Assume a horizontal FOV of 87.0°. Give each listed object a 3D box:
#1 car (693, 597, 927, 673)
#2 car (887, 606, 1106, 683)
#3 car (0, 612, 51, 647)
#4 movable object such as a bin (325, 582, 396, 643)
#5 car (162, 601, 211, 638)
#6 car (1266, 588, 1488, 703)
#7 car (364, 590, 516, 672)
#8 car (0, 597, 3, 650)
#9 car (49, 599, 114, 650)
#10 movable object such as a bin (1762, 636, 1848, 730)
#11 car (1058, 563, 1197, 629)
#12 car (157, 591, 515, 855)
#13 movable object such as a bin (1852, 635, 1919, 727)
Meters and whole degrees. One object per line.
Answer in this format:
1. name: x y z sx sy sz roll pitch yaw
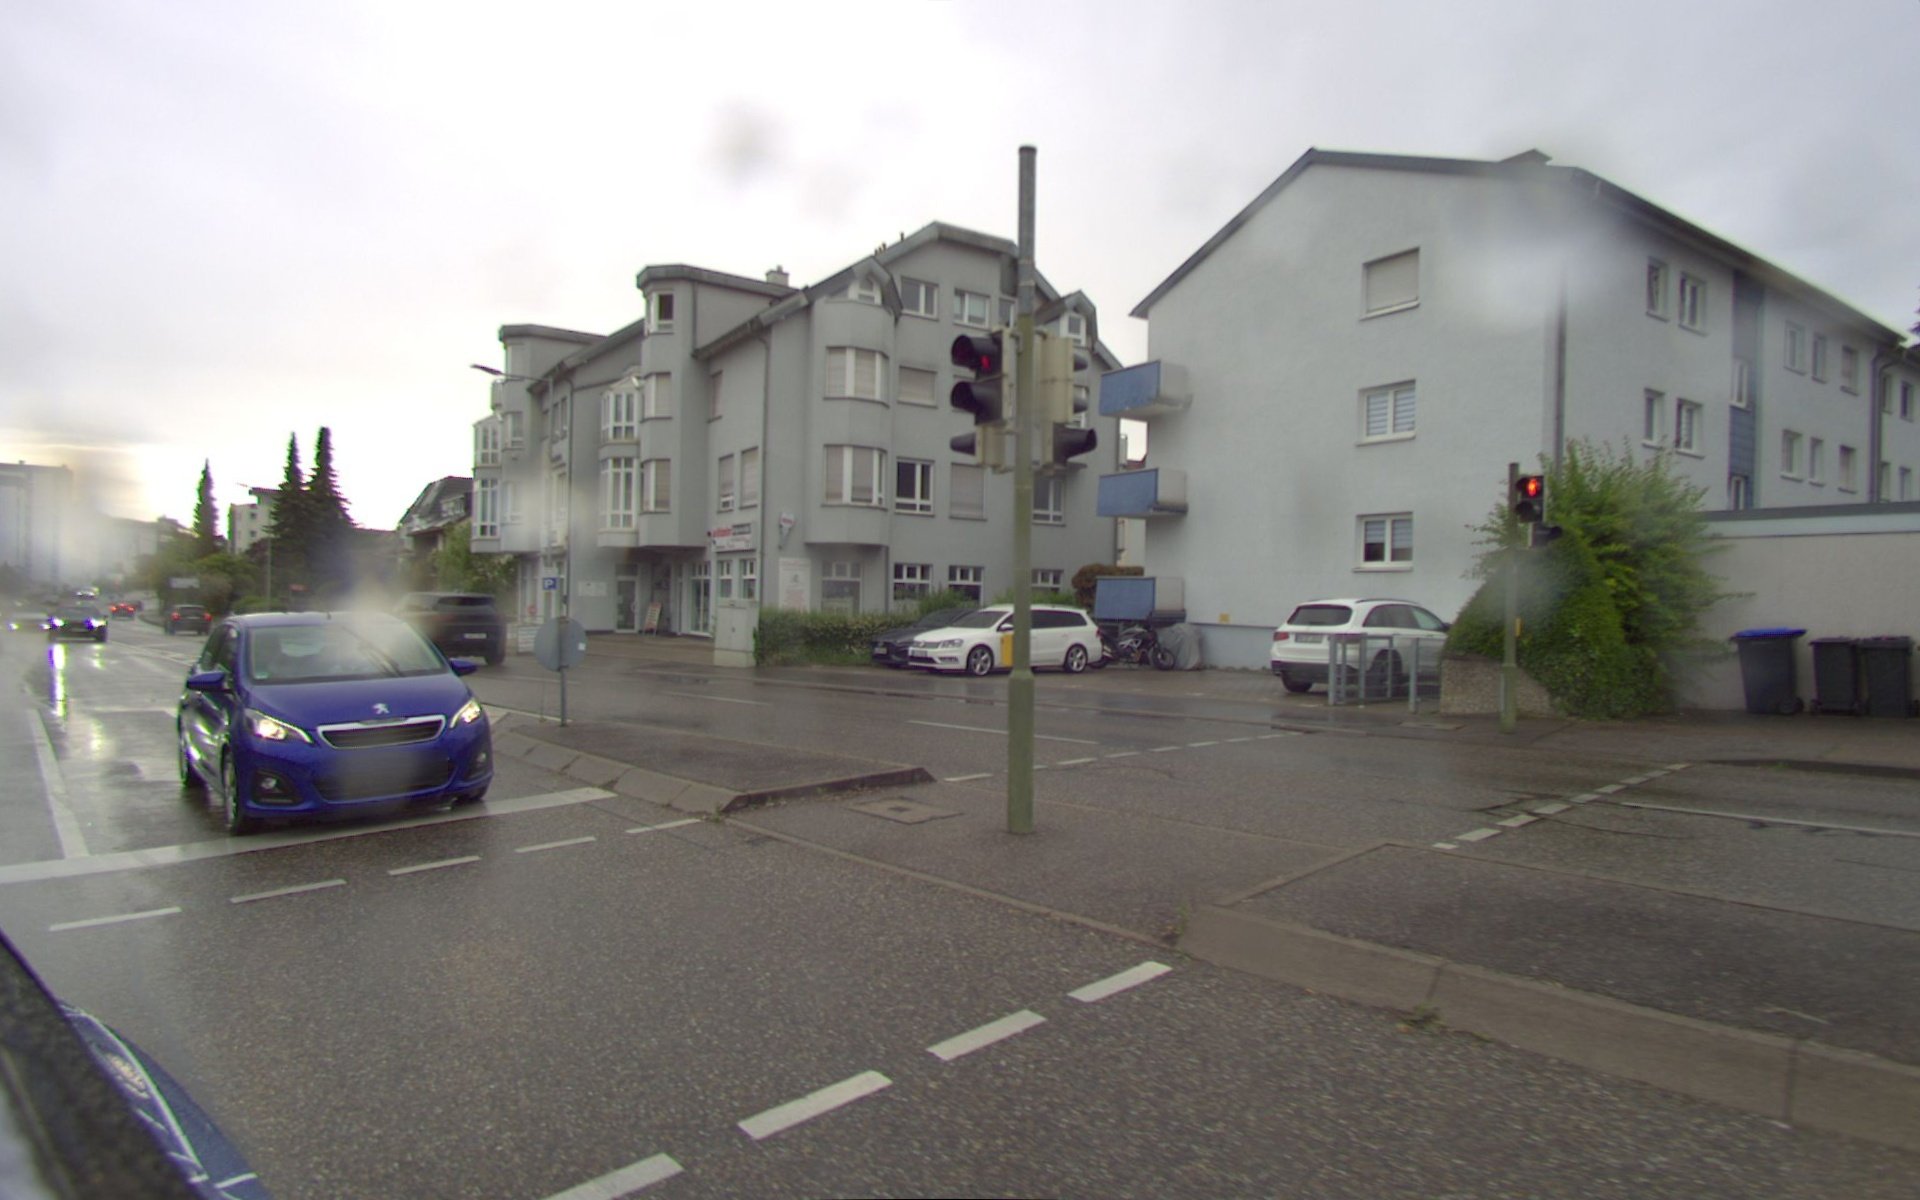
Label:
1. car: -3.612 0.788 25.014 5.393 1.696 2.152 0 -1 -39
2. car: 0.859 0.881 21.909 4.551 1.508 1.934 0 -1 -37
3. car: -52.716 1.653 57.013 4.002 1.874 1.971 0 -2 45
4. movable object such as a bin: -28.950 0.609 48.972 2.877 2.863 2.204 0 -1 -29
5. car: -44.235 1.090 57.844 1.969 2.029 4.005 0 -1 -42
6. car: 7.280 0.712 17.544 3.935 1.763 1.833 0 -1 -37
7. car: -13.032 0.720 25.238 2.073 1.847 4.736 0 -1 -44
8. car: -29.760 0.827 29.941 1.970 1.874 4.004 3 -2 -43
9. car: -36.864 0.999 42.525 1.969 2.029 4.006 0 -1 -41
10. movable object such as a bin: 10.252 0.987 12.287 0.492 1.026 0.689 -4 3 -34
11. car: 5.383 -0.098 32.659 3.931 2.029 2.006 0 -1 -19
12. car: -4.913 0.746 7.798 3.353 1.568 1.629 -1 -1 45
13. movable object such as a bin: 10.701 0.915 11.661 0.492 0.968 0.536 -5 3 -34
